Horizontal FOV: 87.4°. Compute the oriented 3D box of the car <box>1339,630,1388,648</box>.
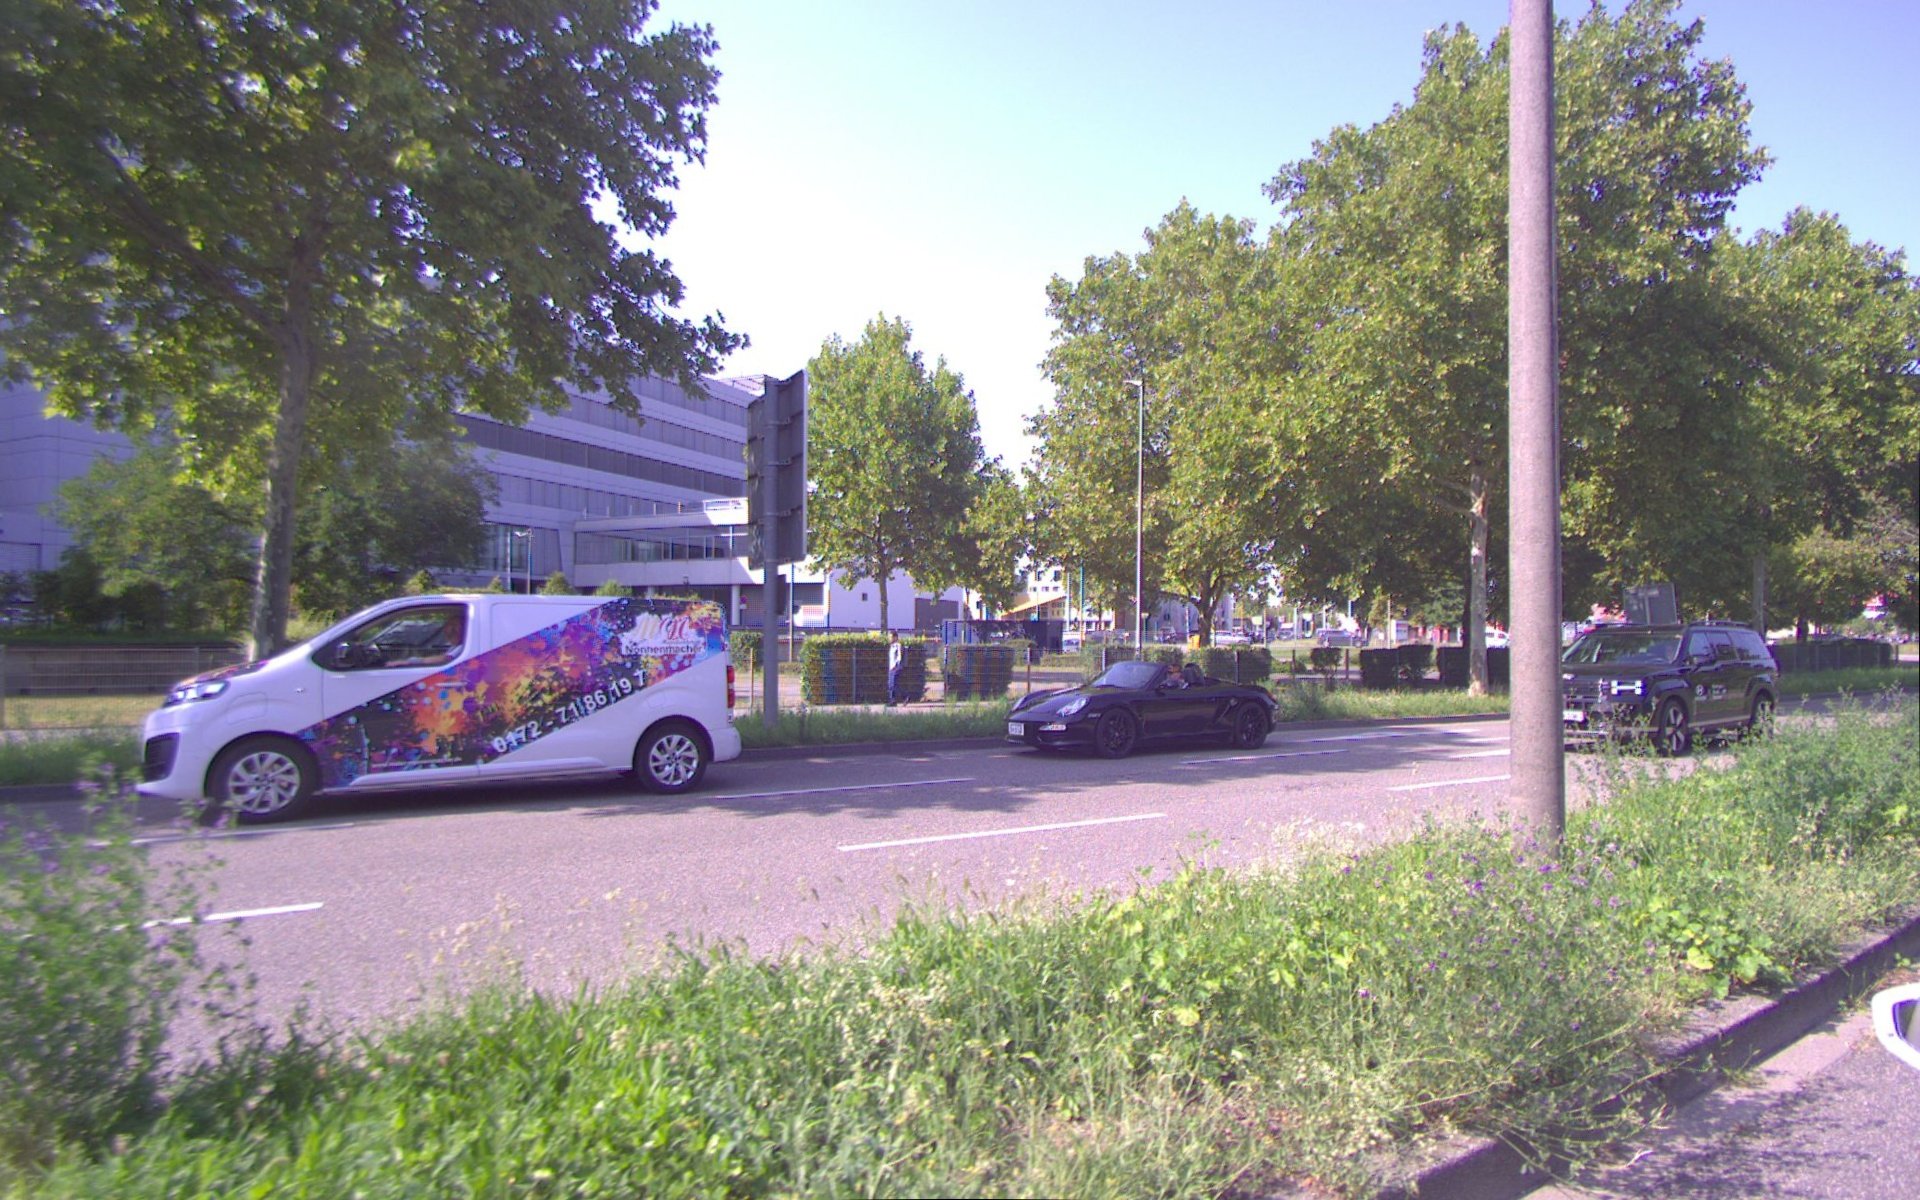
[{"bbox_3d":[35.903,3.464,89.438,3.925,1.565,1.839,-1,-2,25],"label":"car"}]

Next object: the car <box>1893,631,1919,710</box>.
[{"bbox_3d":[23.940,1.625,23.452,4.257,1.782,1.985,2,-4,-30],"label":"car"}]

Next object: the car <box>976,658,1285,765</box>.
[{"bbox_3d":[2.410,1.460,14.054,4.045,1.279,1.784,2,-3,-29],"label":"car"}]

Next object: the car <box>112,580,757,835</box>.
[{"bbox_3d":[-4.616,0.909,9.551,4.911,1.882,1.976,2,-4,-30],"label":"car"}]

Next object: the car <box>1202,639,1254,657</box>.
[{"bbox_3d":[25.166,4.490,94.346,4.500,1.565,1.870,-1,-2,21],"label":"car"}]

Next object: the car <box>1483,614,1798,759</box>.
[{"bbox_3d":[9.753,1.179,14.341,4.425,1.782,1.985,2,-4,-30],"label":"car"}]

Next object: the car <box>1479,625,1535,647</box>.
[{"bbox_3d":[45.821,3.014,84.218,3.923,1.701,1.869,0,-1,23],"label":"car"}]

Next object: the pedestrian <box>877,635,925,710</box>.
[{"bbox_3d":[-1.358,1.664,23.164,0.923,1.674,0.614,2,-1,-30],"label":"pedestrian"}]
